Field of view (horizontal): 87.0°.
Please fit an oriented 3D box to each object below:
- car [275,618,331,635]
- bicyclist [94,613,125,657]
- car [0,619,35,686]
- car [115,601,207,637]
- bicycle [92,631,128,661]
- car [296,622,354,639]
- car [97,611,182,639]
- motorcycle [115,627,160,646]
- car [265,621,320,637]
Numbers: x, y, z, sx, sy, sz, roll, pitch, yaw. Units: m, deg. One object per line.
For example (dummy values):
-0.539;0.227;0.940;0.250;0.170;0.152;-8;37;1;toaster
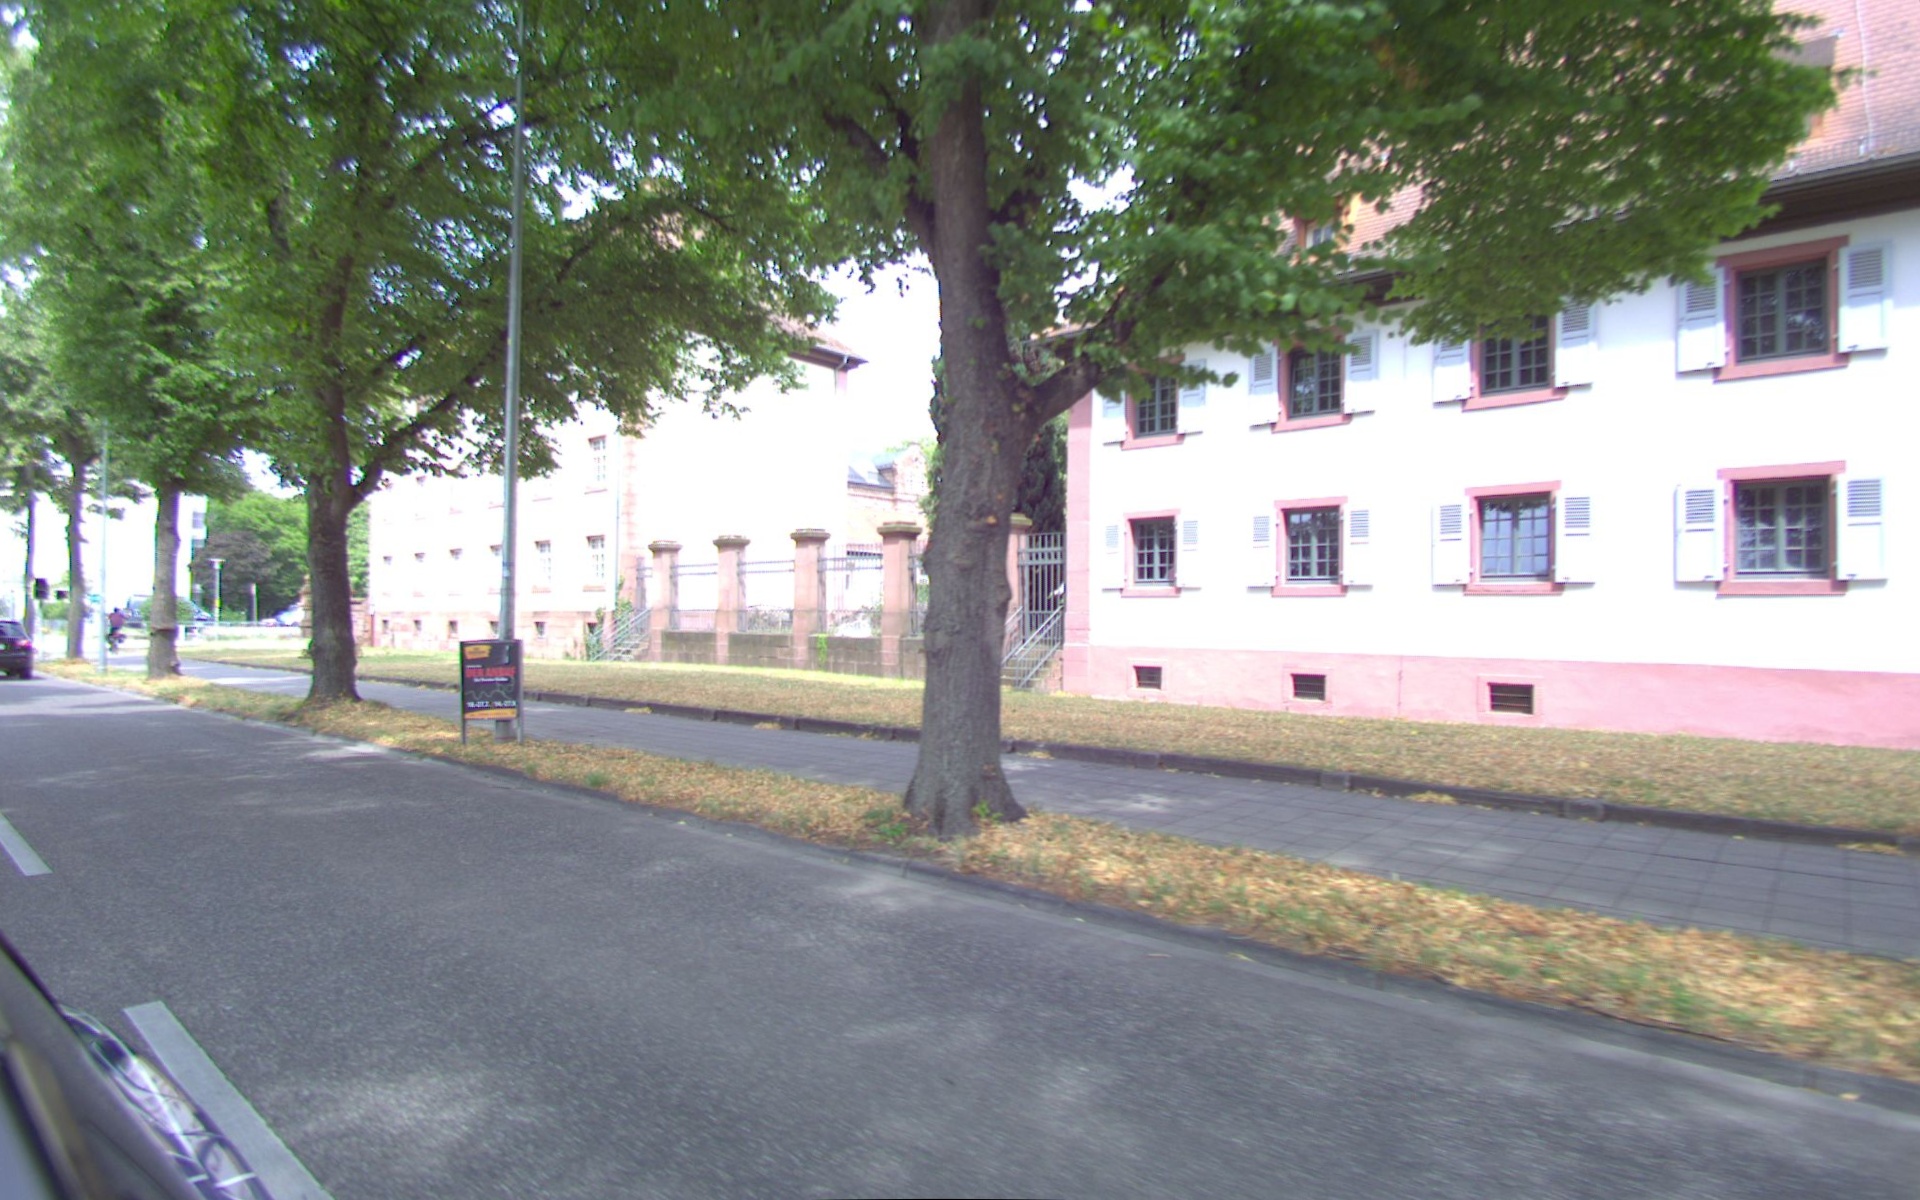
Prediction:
-60.694;2.469;93.547;1.969;1.494;3.946;0;-1;41;car
-33.632;1.390;40.024;0.958;1.668;0.715;-2;1;41;bicyclist
-25.657;1.333;26.341;4.254;1.672;1.753;-1;-3;40;car
-61.286;1.404;77.708;2.354;2.571;5.254;-1;0;42;car
-33.692;1.806;40.095;2.150;1.103;0.715;-2;2;41;bicycle
-56.780;2.720;90.517;1.616;1.494;4.112;0;-1;41;car
-65.613;2.027;81.006;2.228;2.166;5.029;-2;-3;43;car
-51.192;2.261;62.989;2.066;1.151;0.725;4;-4;-45;motorcycle
-62.744;2.728;95.127;1.857;1.494;3.946;0;-1;41;car
